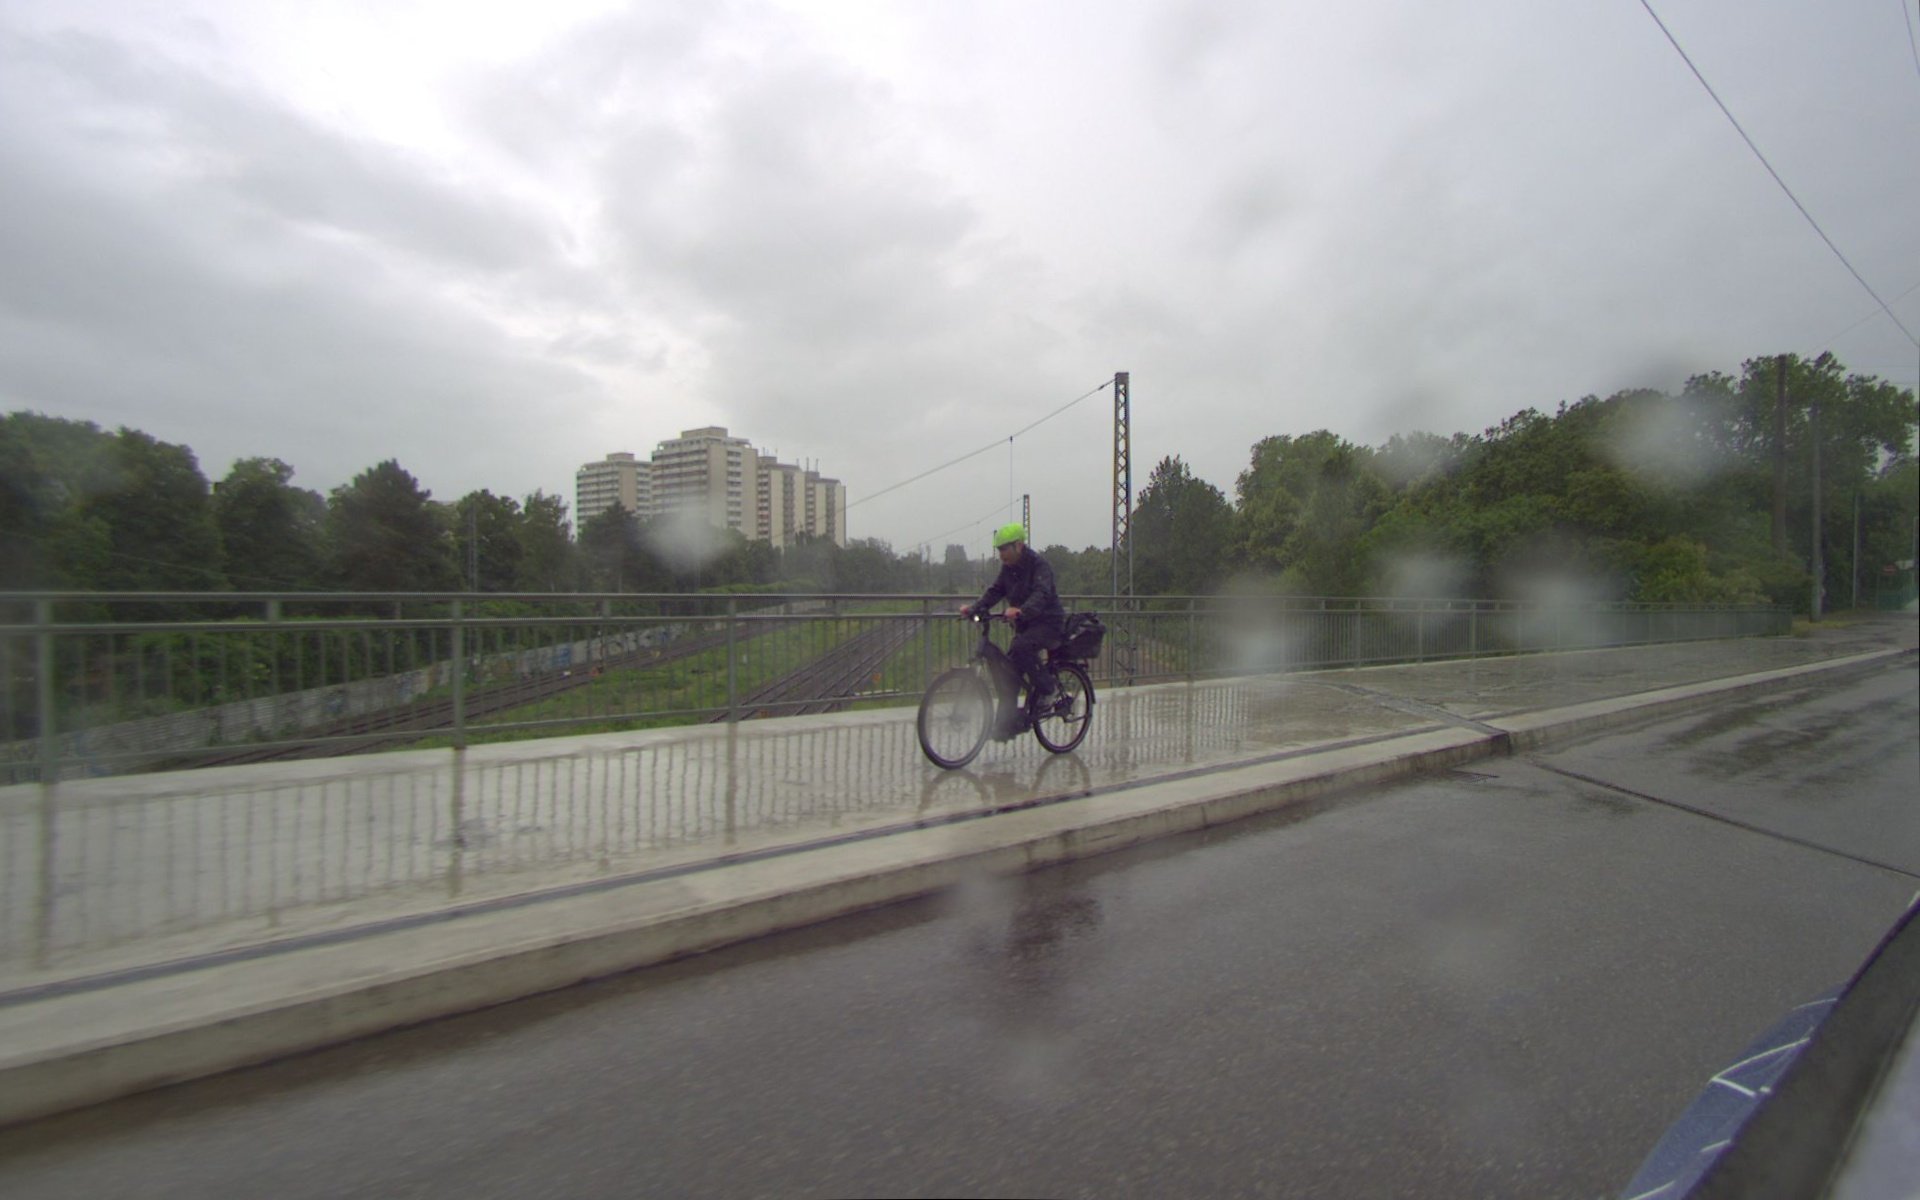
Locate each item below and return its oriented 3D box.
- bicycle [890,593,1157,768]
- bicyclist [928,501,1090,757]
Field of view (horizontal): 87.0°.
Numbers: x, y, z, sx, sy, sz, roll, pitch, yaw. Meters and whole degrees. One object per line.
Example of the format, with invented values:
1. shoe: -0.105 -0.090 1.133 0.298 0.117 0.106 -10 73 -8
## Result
1. bicycle: 0.540 0.538 7.763 2.130 1.143 0.724 -1 0 -41
2. bicyclist: 0.375 0.191 7.645 0.933 1.786 0.727 -2 0 -40
